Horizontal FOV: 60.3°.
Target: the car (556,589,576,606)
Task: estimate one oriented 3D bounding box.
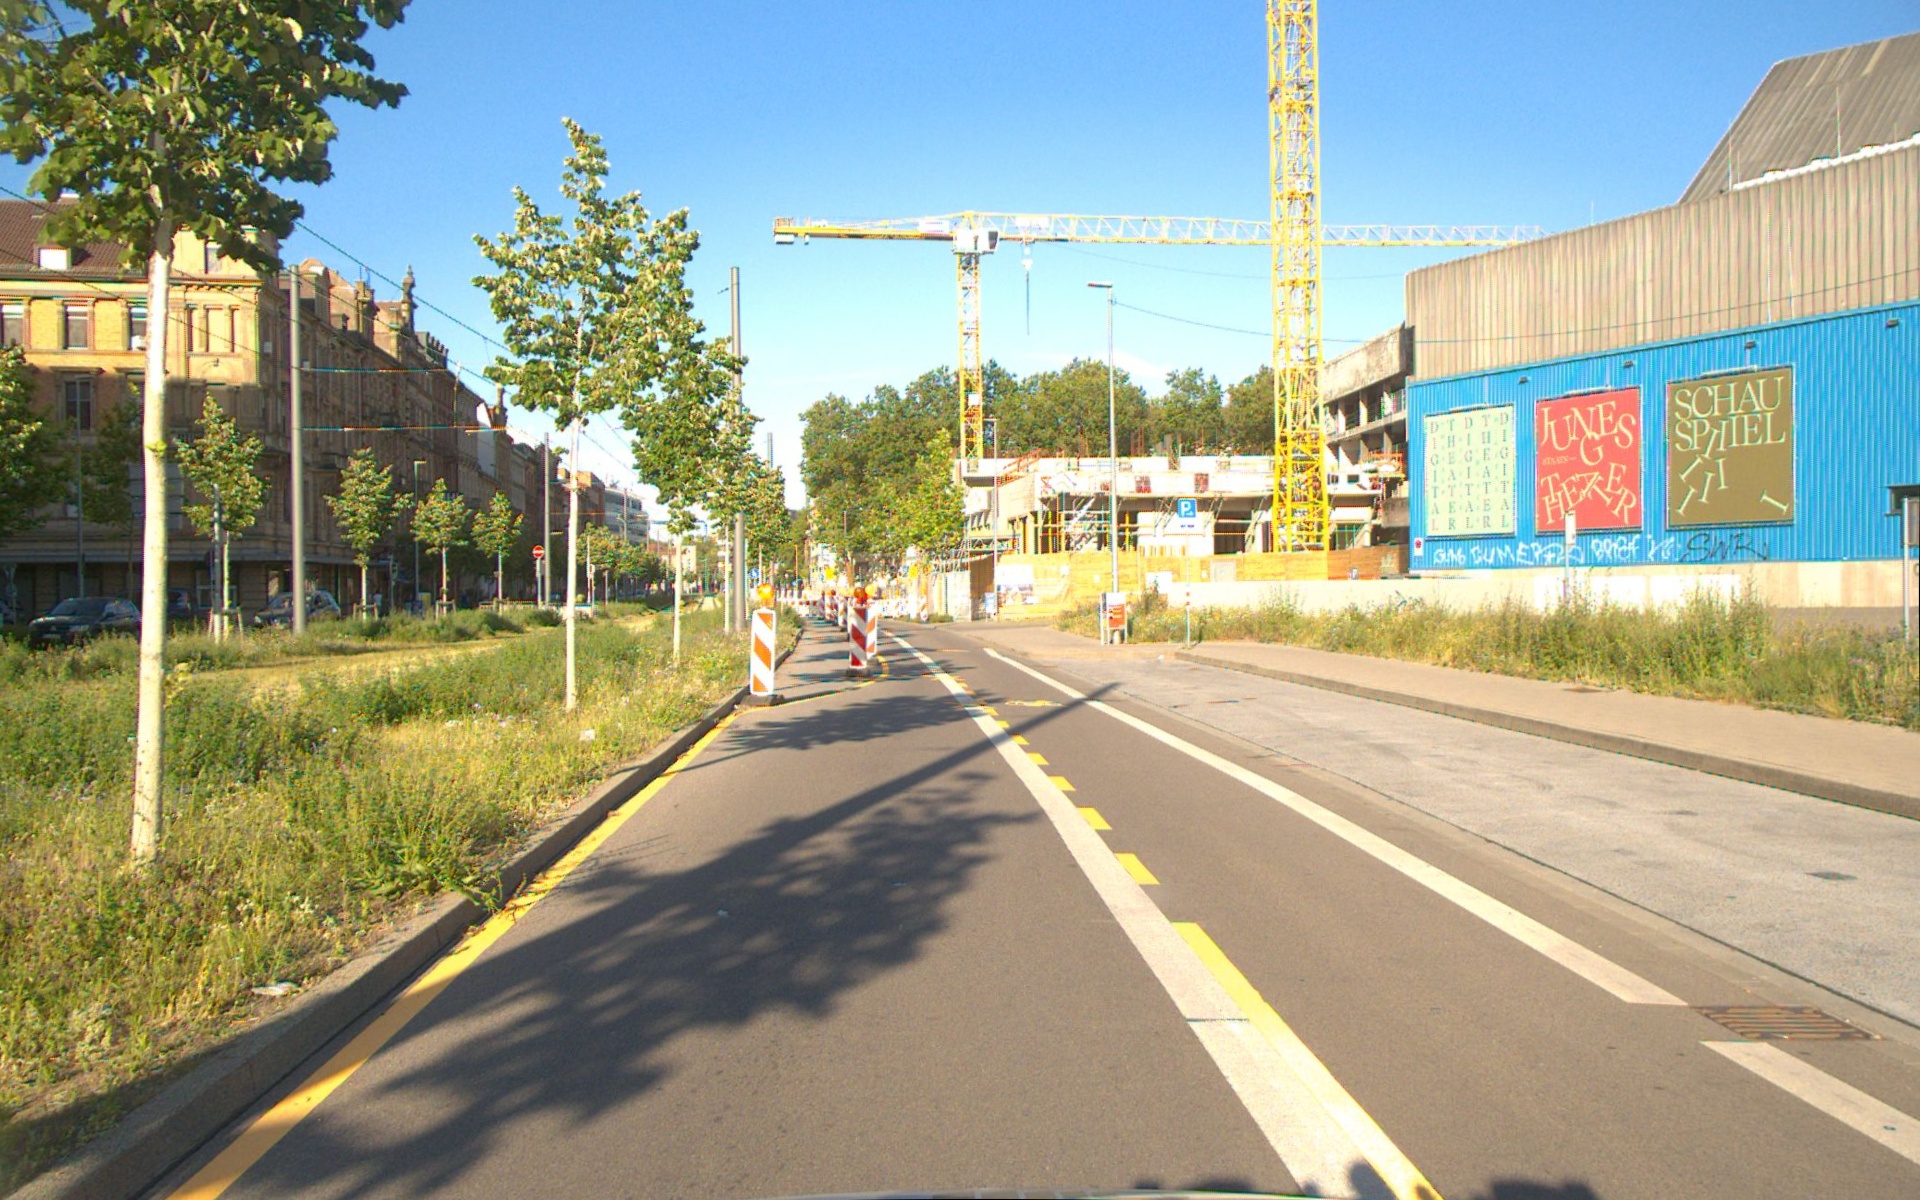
[{"bbox_3d":[-37.976,-0.281,159.417,1.537,1.590,4.705,-1,1,-9],"label":"car"}]

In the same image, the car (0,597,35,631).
[{"bbox_3d":[-43.481,0.649,74.272,3.090,1.494,1.379,-1,0,-13],"label":"car"}]

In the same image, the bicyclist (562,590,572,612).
[{"bbox_3d":[-31.538,0.082,132.673,0.682,1.686,0.881,0,0,-8],"label":"bicyclist"}]

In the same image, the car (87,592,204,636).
[{"bbox_3d":[-37.253,0.617,75.745,4.432,1.936,1.892,-1,0,-13],"label":"car"}]

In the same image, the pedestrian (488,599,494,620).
[{"bbox_3d":[-39.949,0.829,140.822,0.360,1.795,0.405,1,-1,-9],"label":"pedestrian"}]

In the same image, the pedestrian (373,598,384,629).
[{"bbox_3d":[-33.897,0.788,96.451,0.498,1.795,0.405,2,-1,-9],"label":"pedestrian"}]

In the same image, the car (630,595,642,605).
[{"bbox_3d":[-47.826,-0.032,244.165,1.564,1.509,3.618,0,0,-7],"label":"car"}]

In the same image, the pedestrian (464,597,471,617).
[{"bbox_3d":[-38.446,0.550,129.082,0.396,1.612,0.425,1,-1,-9],"label":"pedestrian"}]

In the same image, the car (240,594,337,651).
[{"bbox_3d":[-21.983,0.692,54.294,1.693,1.777,4.119,0,0,-3],"label":"car"}]

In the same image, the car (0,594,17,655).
[{"bbox_3d":[-25.753,0.651,41.766,1.615,1.581,3.966,0,0,-1],"label":"car"}]

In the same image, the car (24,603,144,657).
[{"bbox_3d":[-26.342,0.874,49.882,1.696,1.487,3.898,2,0,-3],"label":"car"}]

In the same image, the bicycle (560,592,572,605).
[{"bbox_3d":[-31.486,-0.142,132.212,0.682,0.995,1.824,0,0,-7],"label":"bicycle"}]
